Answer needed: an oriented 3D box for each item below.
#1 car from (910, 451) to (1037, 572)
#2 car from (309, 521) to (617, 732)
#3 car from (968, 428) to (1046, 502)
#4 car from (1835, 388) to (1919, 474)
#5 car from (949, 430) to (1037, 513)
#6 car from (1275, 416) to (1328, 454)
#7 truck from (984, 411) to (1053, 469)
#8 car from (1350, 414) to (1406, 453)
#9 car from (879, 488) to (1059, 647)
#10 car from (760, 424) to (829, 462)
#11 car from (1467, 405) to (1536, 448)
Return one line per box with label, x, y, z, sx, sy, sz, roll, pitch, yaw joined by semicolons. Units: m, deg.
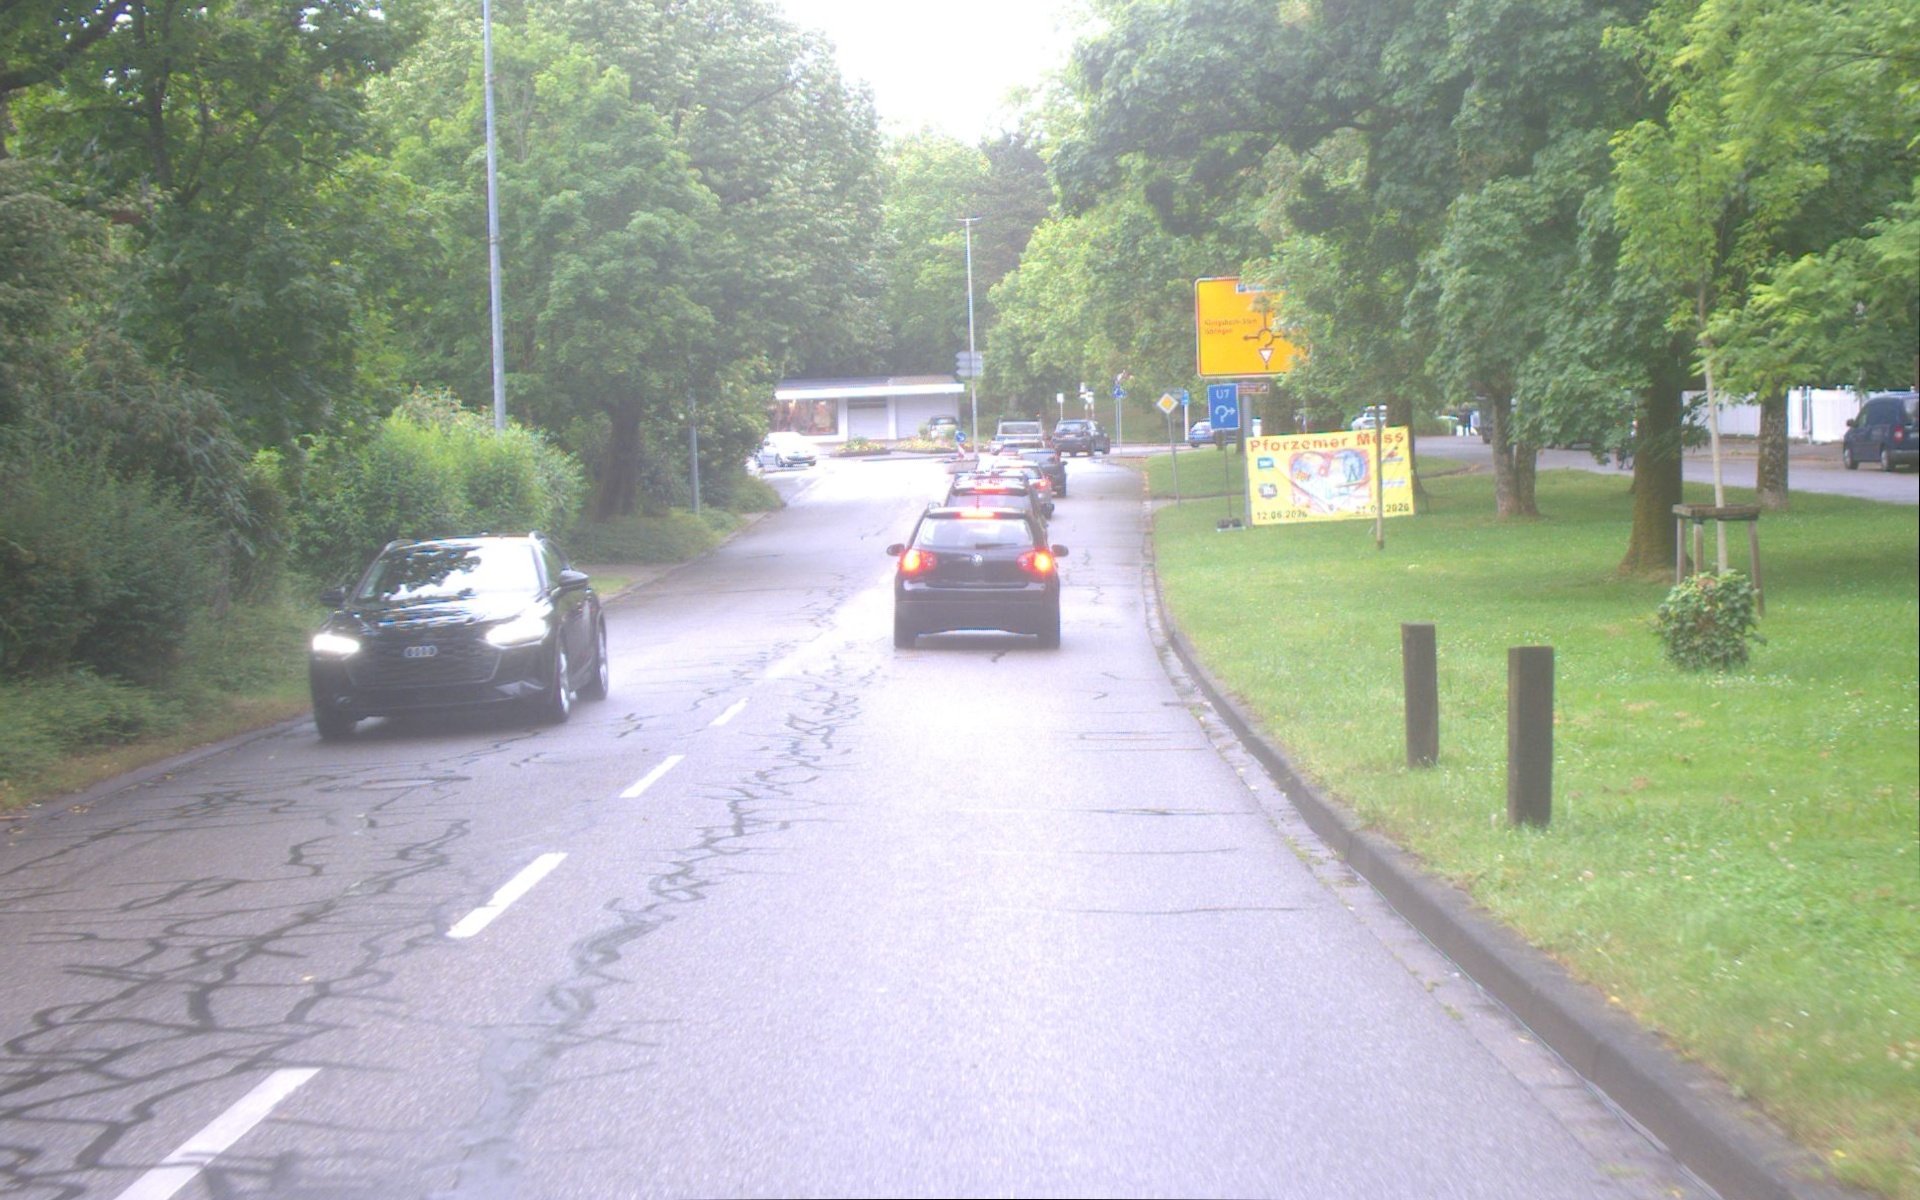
car;0.259;-1.449;54.902;1.855;1.778;4.000;-2;3;2
car;-3.795;0.142;26.924;1.754;1.358;4.326;-3;2;0
car;1.211;-3.446;87.310;1.855;1.778;4.000;-2;3;2
car;22.409;-4.042;81.527;1.941;1.802;4.650;-4;4;-1
car;0.783;-2.960;78.489;1.855;1.778;4.000;-2;3;2
car;13.956;-6.753;140.531;1.803;1.380;4.001;-4;4;2
truck;2.121;-5.881;125.982;2.416;1.997;5.152;-2;3;0
car;17.036;-6.791;140.286;1.803;1.401;4.001;-4;4;2
car;0.145;-0.391;36.807;1.799;1.510;3.754;1;3;2
car;-7.621;-7.224;158.136;1.763;1.608;4.142;-4;3;-23
car;20.106;-6.474;127.785;1.802;1.406;4.114;-3;4;-1
